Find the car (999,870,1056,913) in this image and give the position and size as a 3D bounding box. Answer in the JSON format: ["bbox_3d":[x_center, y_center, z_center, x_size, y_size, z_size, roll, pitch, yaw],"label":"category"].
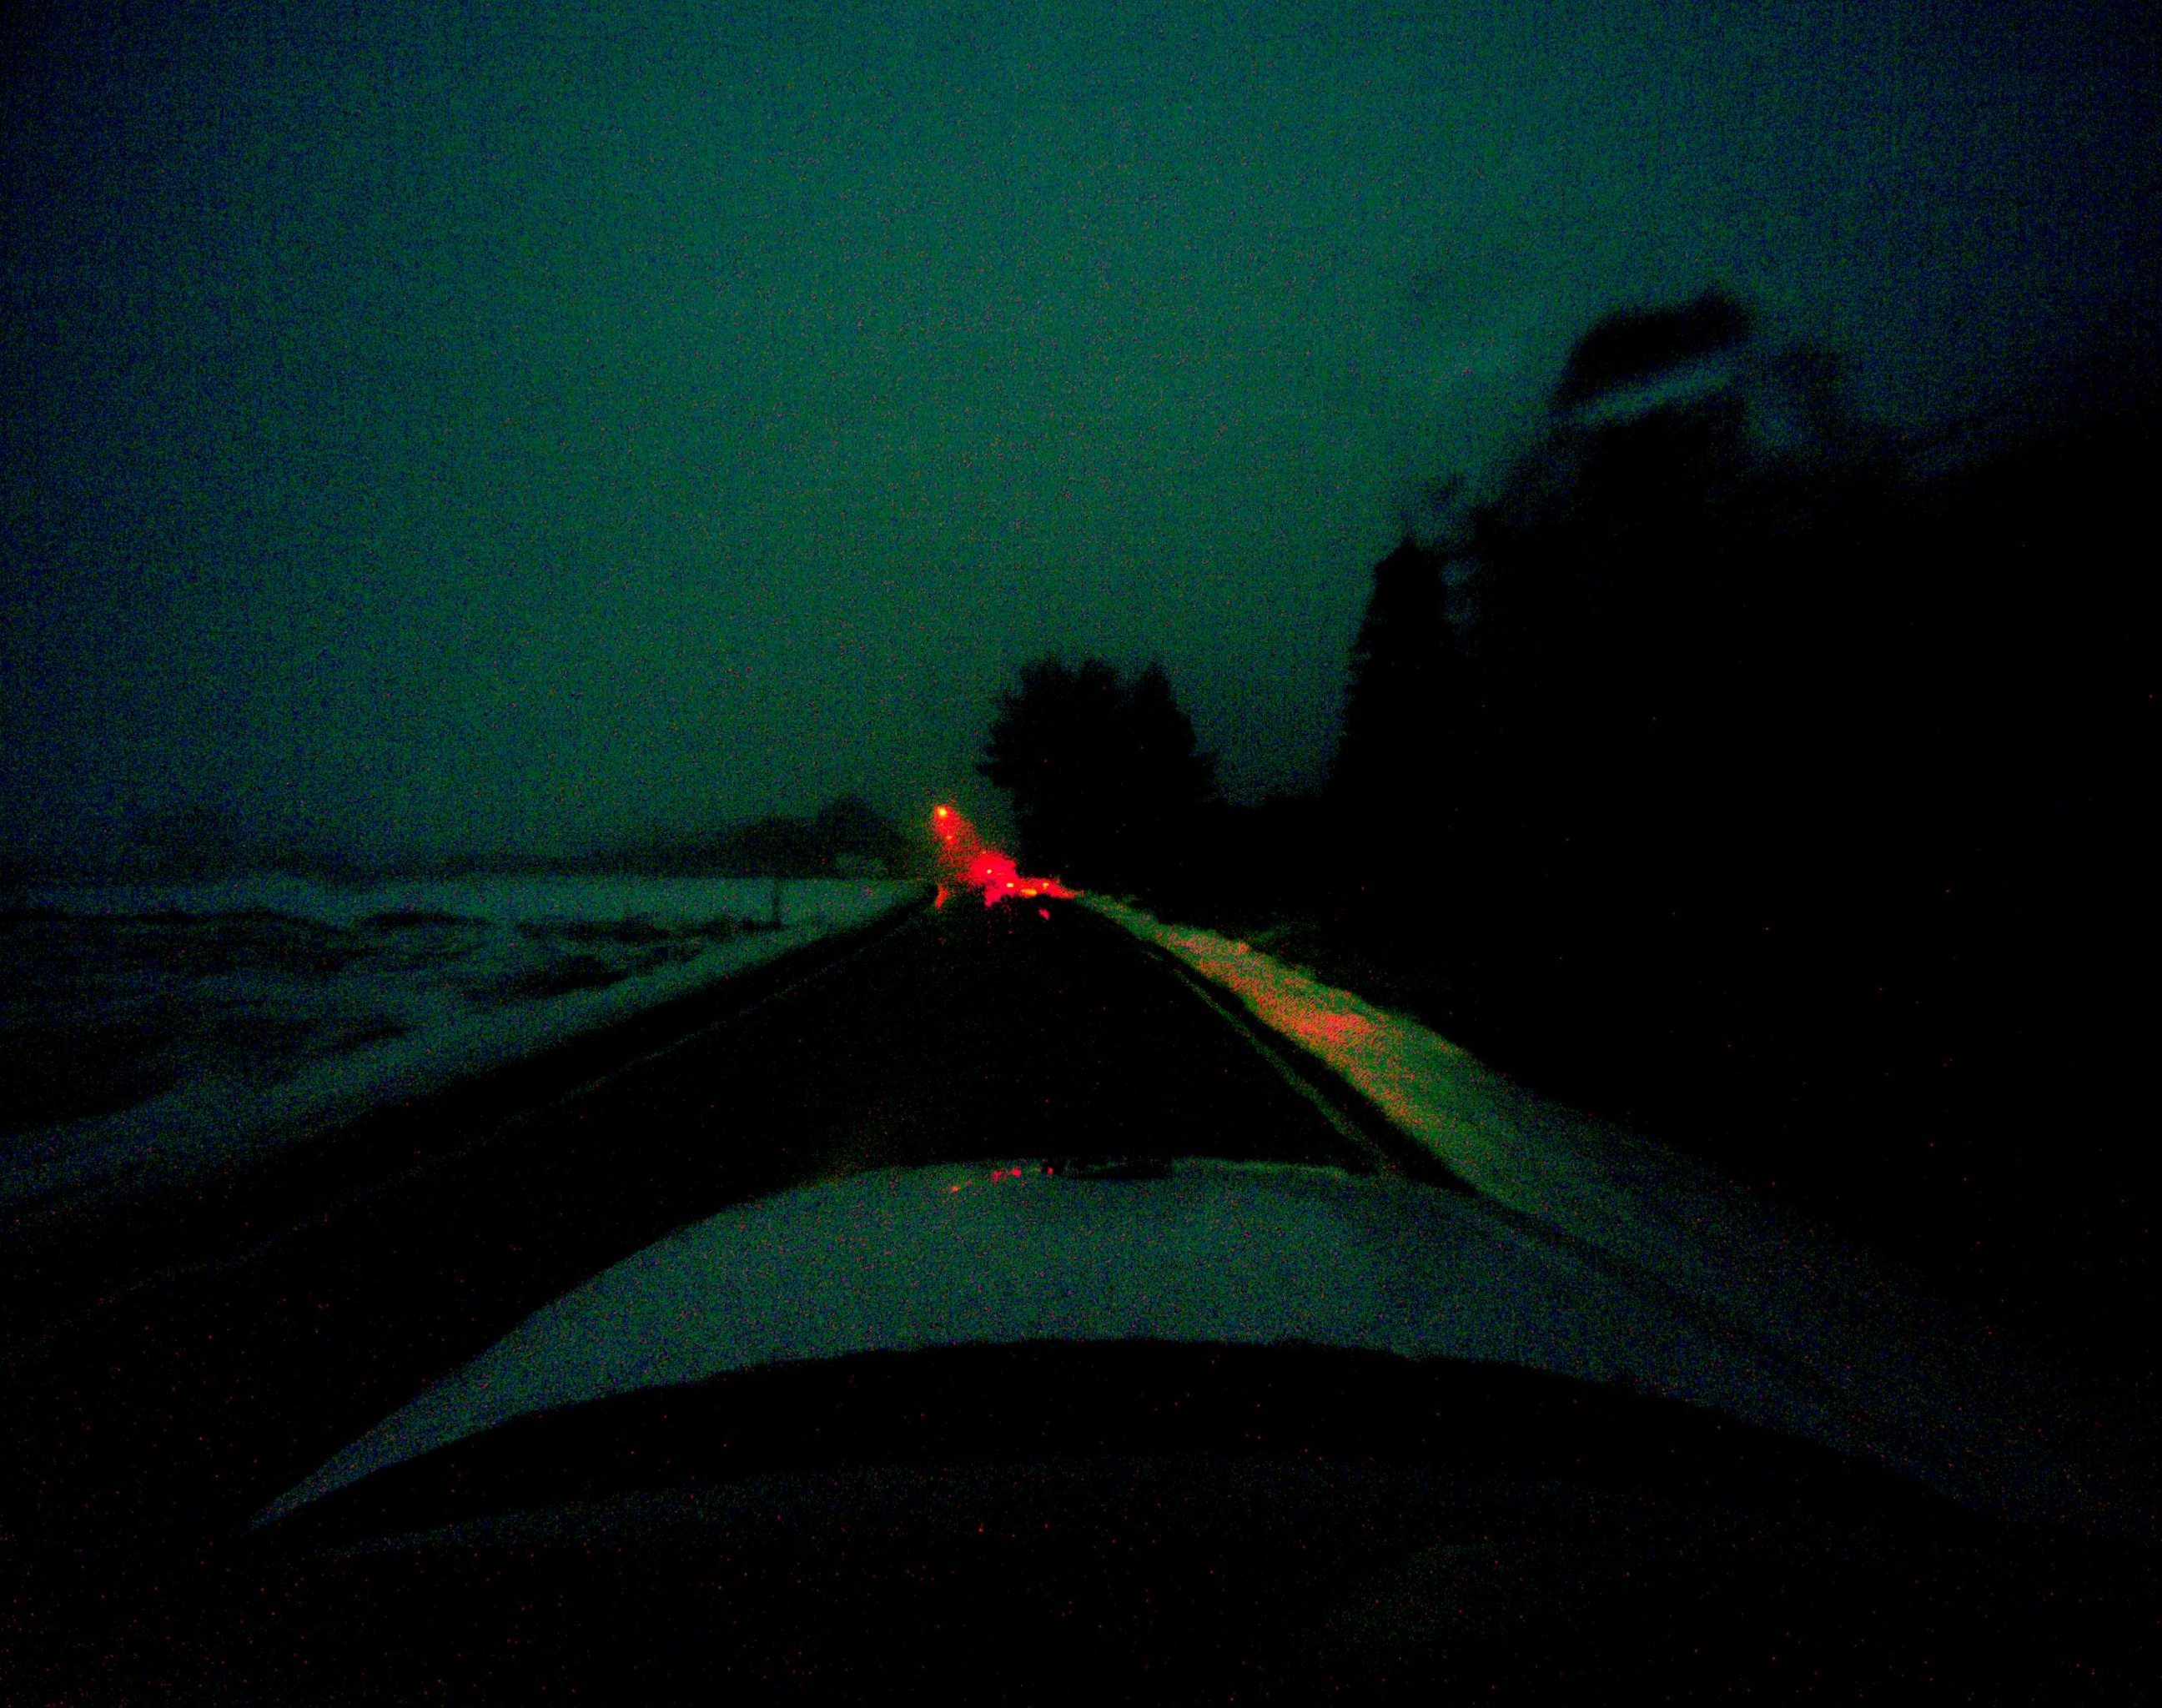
[{"bbox_3d":[-2.121,1.385,31.528,1.991,1.508,3.990,-1,-1,-7],"label":"car"}]

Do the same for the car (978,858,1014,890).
[{"bbox_3d":[-4.898,1.151,47.374,1.990,1.750,3.993,-1,-1,-5],"label":"car"}]
